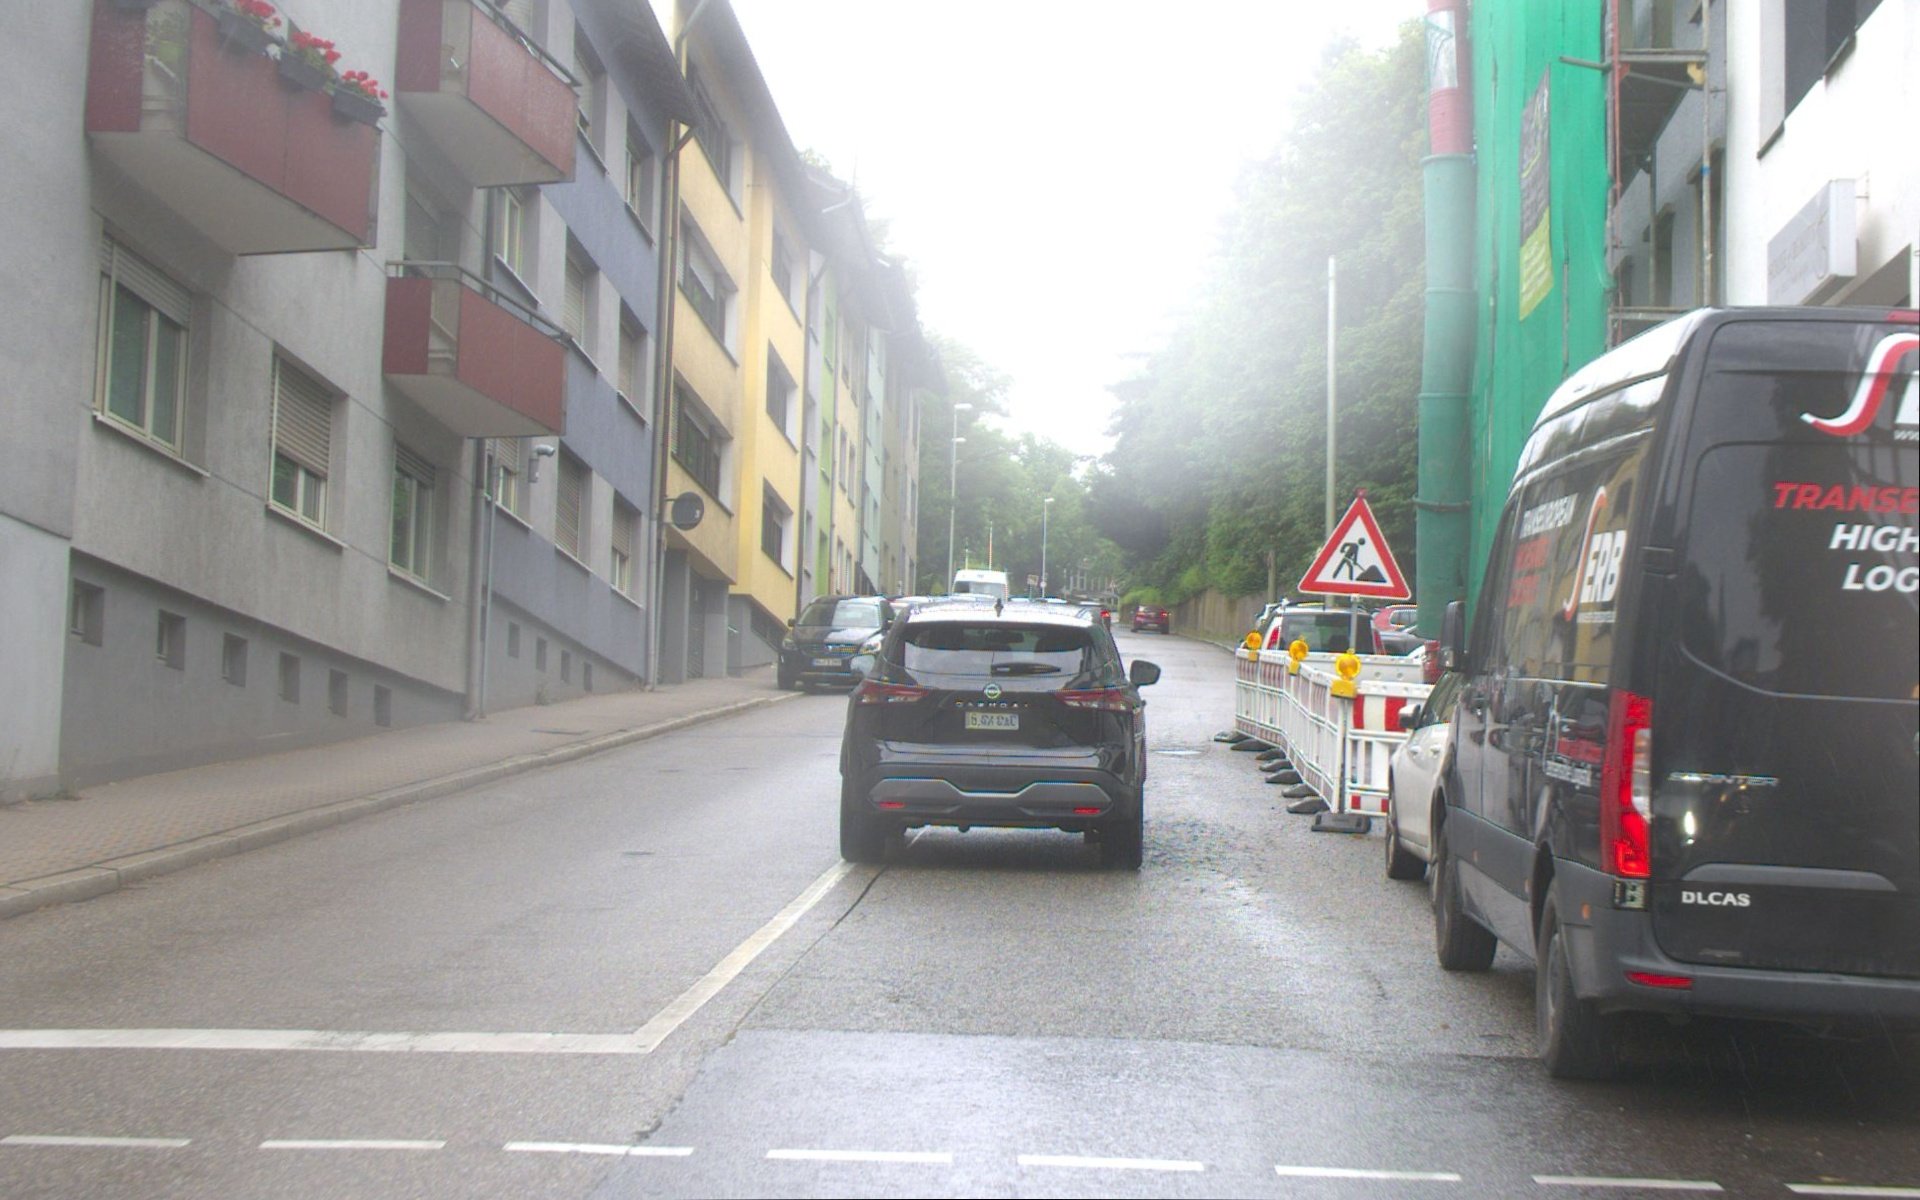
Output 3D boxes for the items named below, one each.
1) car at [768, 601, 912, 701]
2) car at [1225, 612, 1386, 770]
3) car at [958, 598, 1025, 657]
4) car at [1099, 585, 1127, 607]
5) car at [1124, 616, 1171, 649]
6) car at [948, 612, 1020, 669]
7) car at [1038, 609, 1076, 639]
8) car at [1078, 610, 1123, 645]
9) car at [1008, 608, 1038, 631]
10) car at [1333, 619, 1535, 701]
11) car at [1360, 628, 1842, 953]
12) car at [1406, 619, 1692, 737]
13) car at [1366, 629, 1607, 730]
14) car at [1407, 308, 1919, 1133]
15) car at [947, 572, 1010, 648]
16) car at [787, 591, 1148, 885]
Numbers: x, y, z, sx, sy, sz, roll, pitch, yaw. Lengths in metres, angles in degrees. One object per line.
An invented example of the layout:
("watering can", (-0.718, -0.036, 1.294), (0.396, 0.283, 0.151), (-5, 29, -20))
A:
("car", (-2.083, 0.867, 61.017), (1.994, 1.644, 4.440), (1, 0, 5))
("car", (4.330, 1.107, 43.528), (1.640, 1.756, 4.000), (3, 1, 1))
("car", (0.999, 0.856, 107.897), (1.990, 1.749, 4.480), (1, 0, 1))
("car", (11.585, -0.294, 259.937), (1.994, 1.554, 3.999), (1, -2, 5))
("car", (9.534, 1.640, 174.785), (2.074, 1.554, 4.000), (2, 0, -1))
("car", (0.726, 1.174, 101.165), (1.990, 1.580, 4.305), (1, 0, 1))
("car", (5.541, 1.363, 196.143), (2.074, 1.554, 4.000), (2, 0, 1))
("car", (6.798, 1.315, 166.584), (2.074, 1.554, 4.000), (2, 0, 1))
("car", (4.576, 1.432, 250.004), (2.074, 1.554, 4.000), (2, 0, 1))
("car", (10.560, 1.330, 76.815), (4.198, 1.491, 1.760), (4, 0, 1))
("car", (3.433, 0.969, 19.248), (1.994, 1.507, 4.337), (3, -1, 3))
("car", (9.757, 1.288, 57.192), (4.341, 1.525, 1.876), (-5, 0, 2))
("car", (9.448, 1.421, 61.863), (3.961, 1.525, 1.692), (-4, 0, -1))
("car", (3.020, 0.487, 13.124), (1.994, 2.406, 5.835), (3, -2, 2))
("car", (0.651, 0.321, 116.495), (1.990, 2.466, 5.784), (1, 0, 1))
("car", (0.127, 0.784, 21.711), (1.994, 1.554, 4.000), (3, 1, 3))
